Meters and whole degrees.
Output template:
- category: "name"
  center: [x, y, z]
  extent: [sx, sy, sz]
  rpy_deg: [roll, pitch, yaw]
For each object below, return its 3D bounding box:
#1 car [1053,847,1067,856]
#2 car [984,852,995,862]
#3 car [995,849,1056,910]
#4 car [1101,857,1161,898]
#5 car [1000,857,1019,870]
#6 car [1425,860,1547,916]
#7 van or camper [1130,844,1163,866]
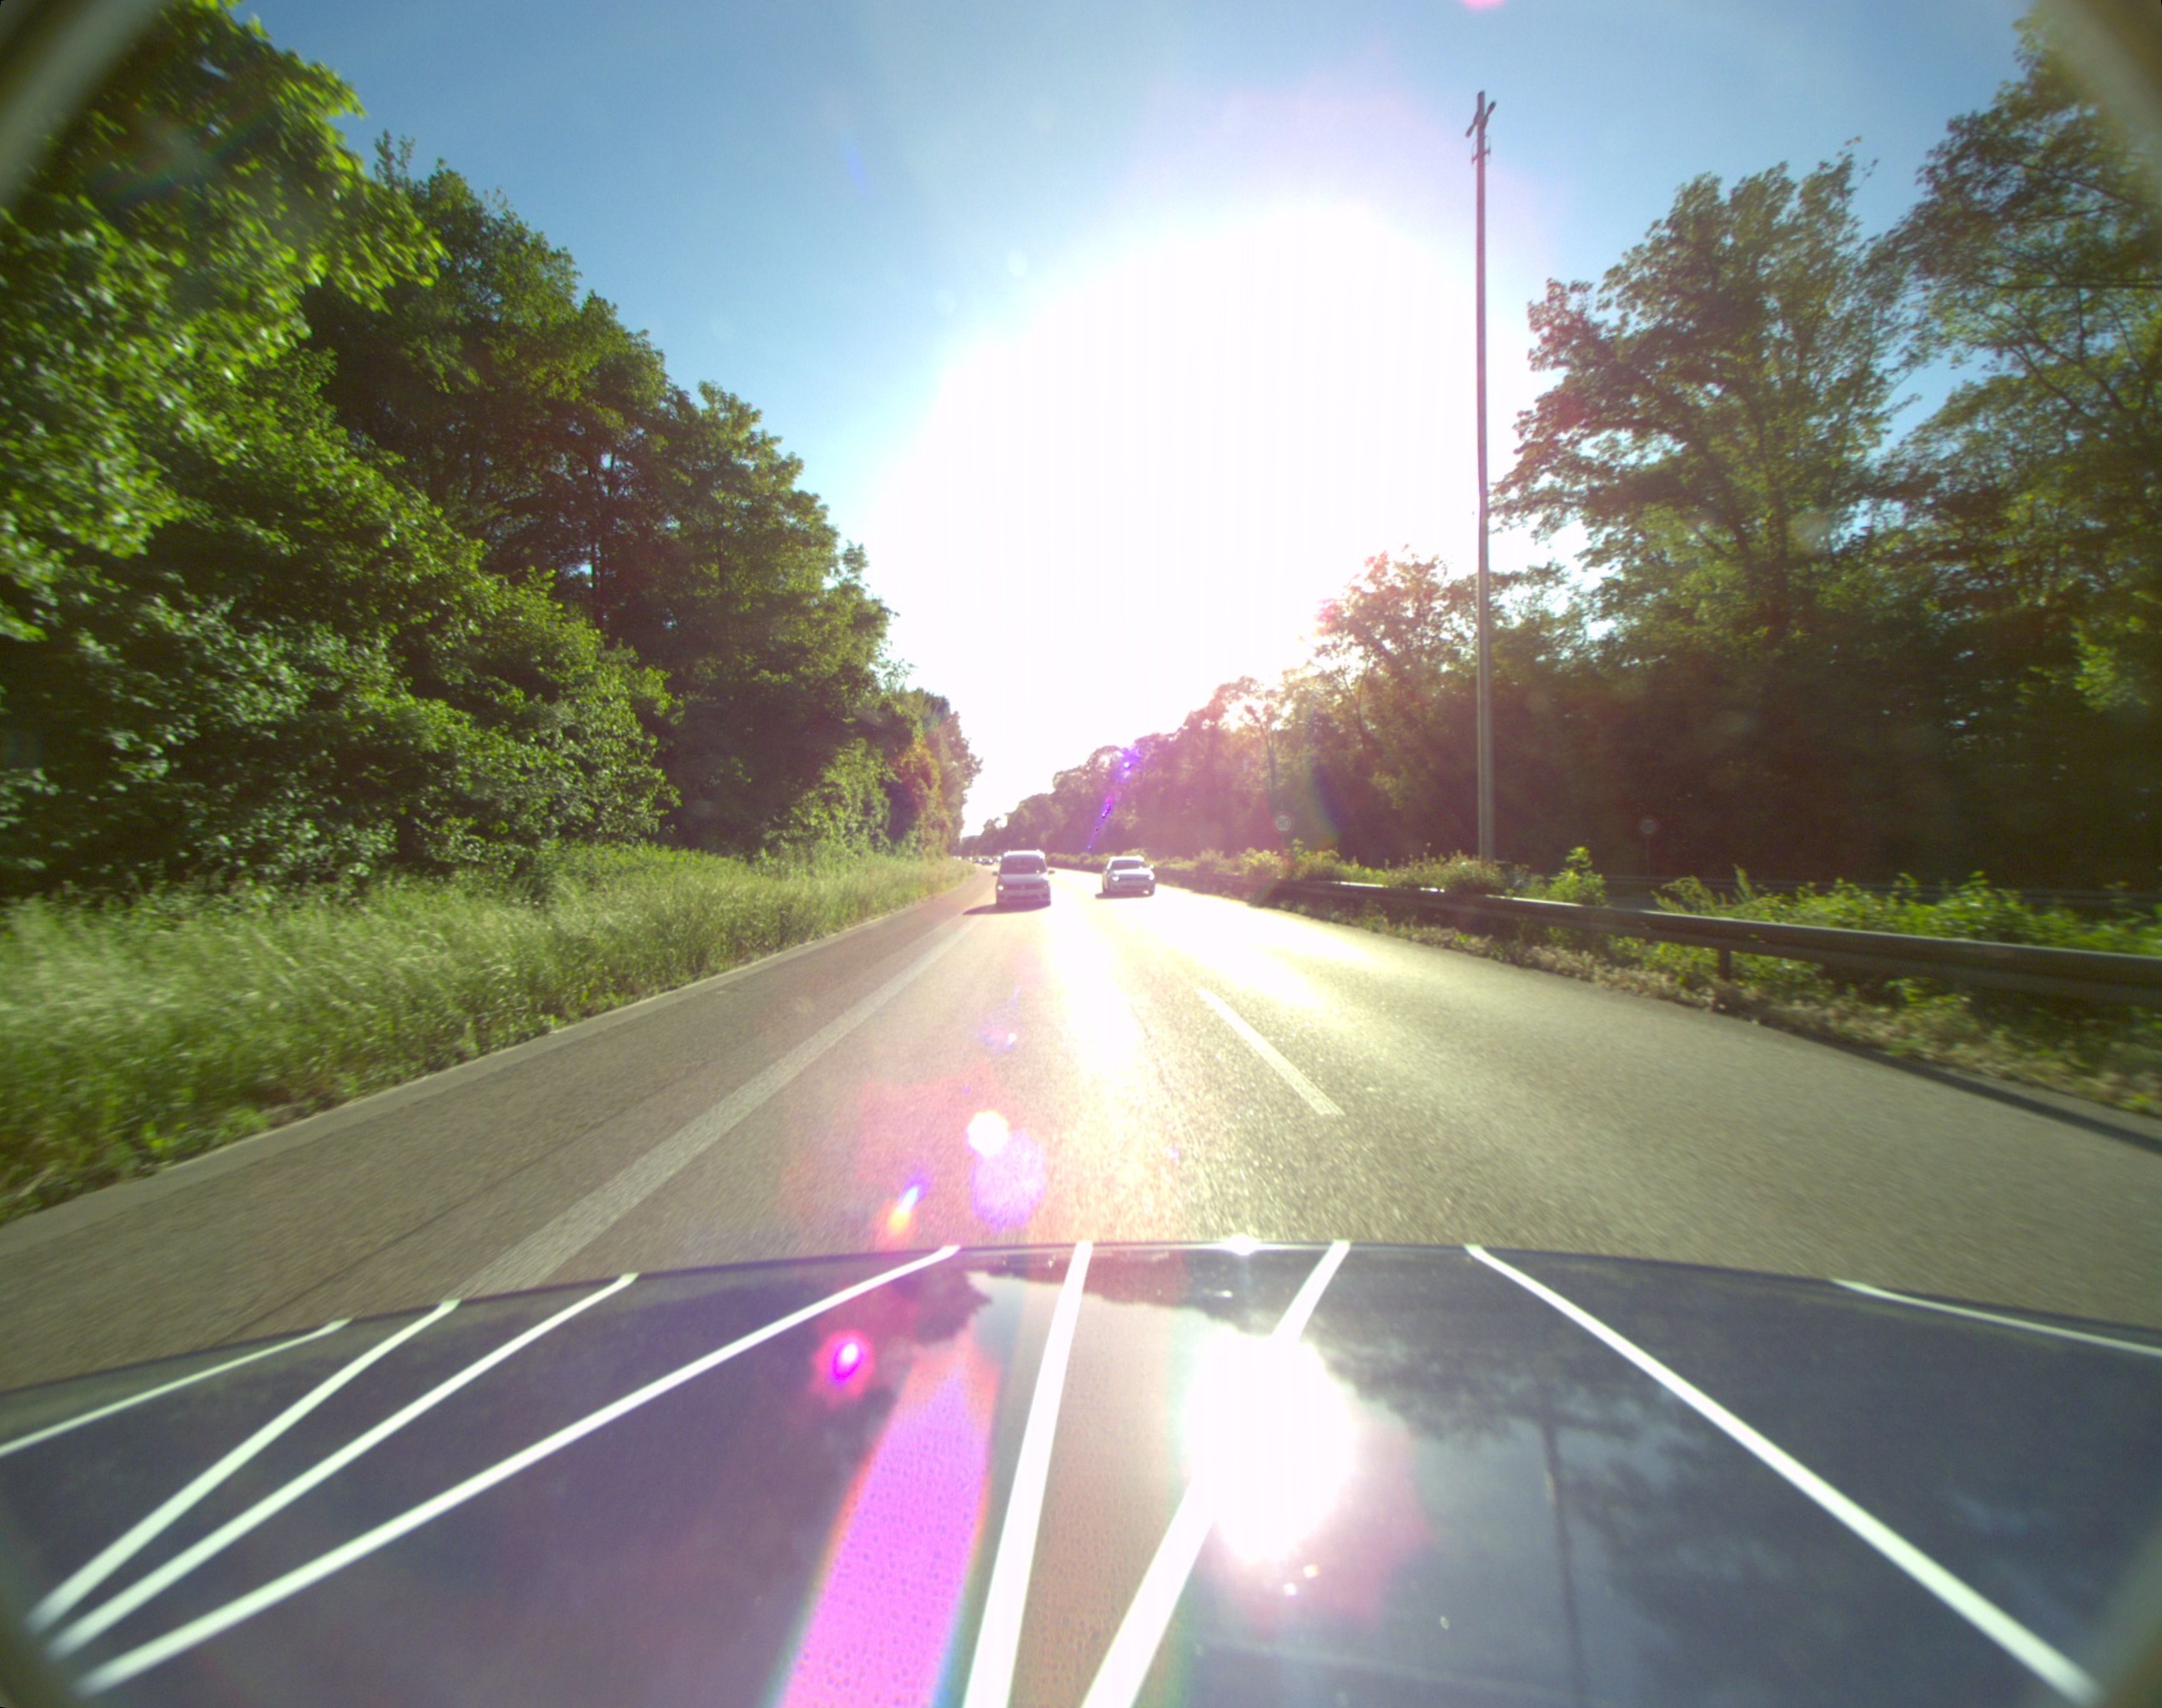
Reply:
- category: "car"
  center: [-3.657, -0.377, 132.316]
  extent: [1.886, 1.505, 4.353]
  rpy_deg: [-2, 1, -9]
- category: "car"
  center: [-17.204, 0.550, 143.048]
  extent: [1.935, 1.500, 5.080]
  rpy_deg: [-2, 3, -8]
- category: "car"
  center: [-1.828, 0.770, 25.800]
  extent: [1.800, 1.796, 4.831]
  rpy_deg: [-2, 1, -3]
- category: "car"
  center: [1.923, 0.893, 30.895]
  extent: [1.934, 1.499, 5.599]
  rpy_deg: [-1, 0, -1]
- category: "car"
  center: [-8.521, 1.103, 89.836]
  extent: [1.936, 1.499, 5.083]
  rpy_deg: [2, -1, -8]
- category: "car"
  center: [14.622, 1.162, 27.772]
  extent: [1.999, 1.775, 4.293]
  rpy_deg: [-2, 1, -3]
- category: "van or camper"
  center: [6.344, 0.088, 74.181]
  extent: [2.150, 2.002, 5.576]
  rpy_deg: [0, 0, -7]
